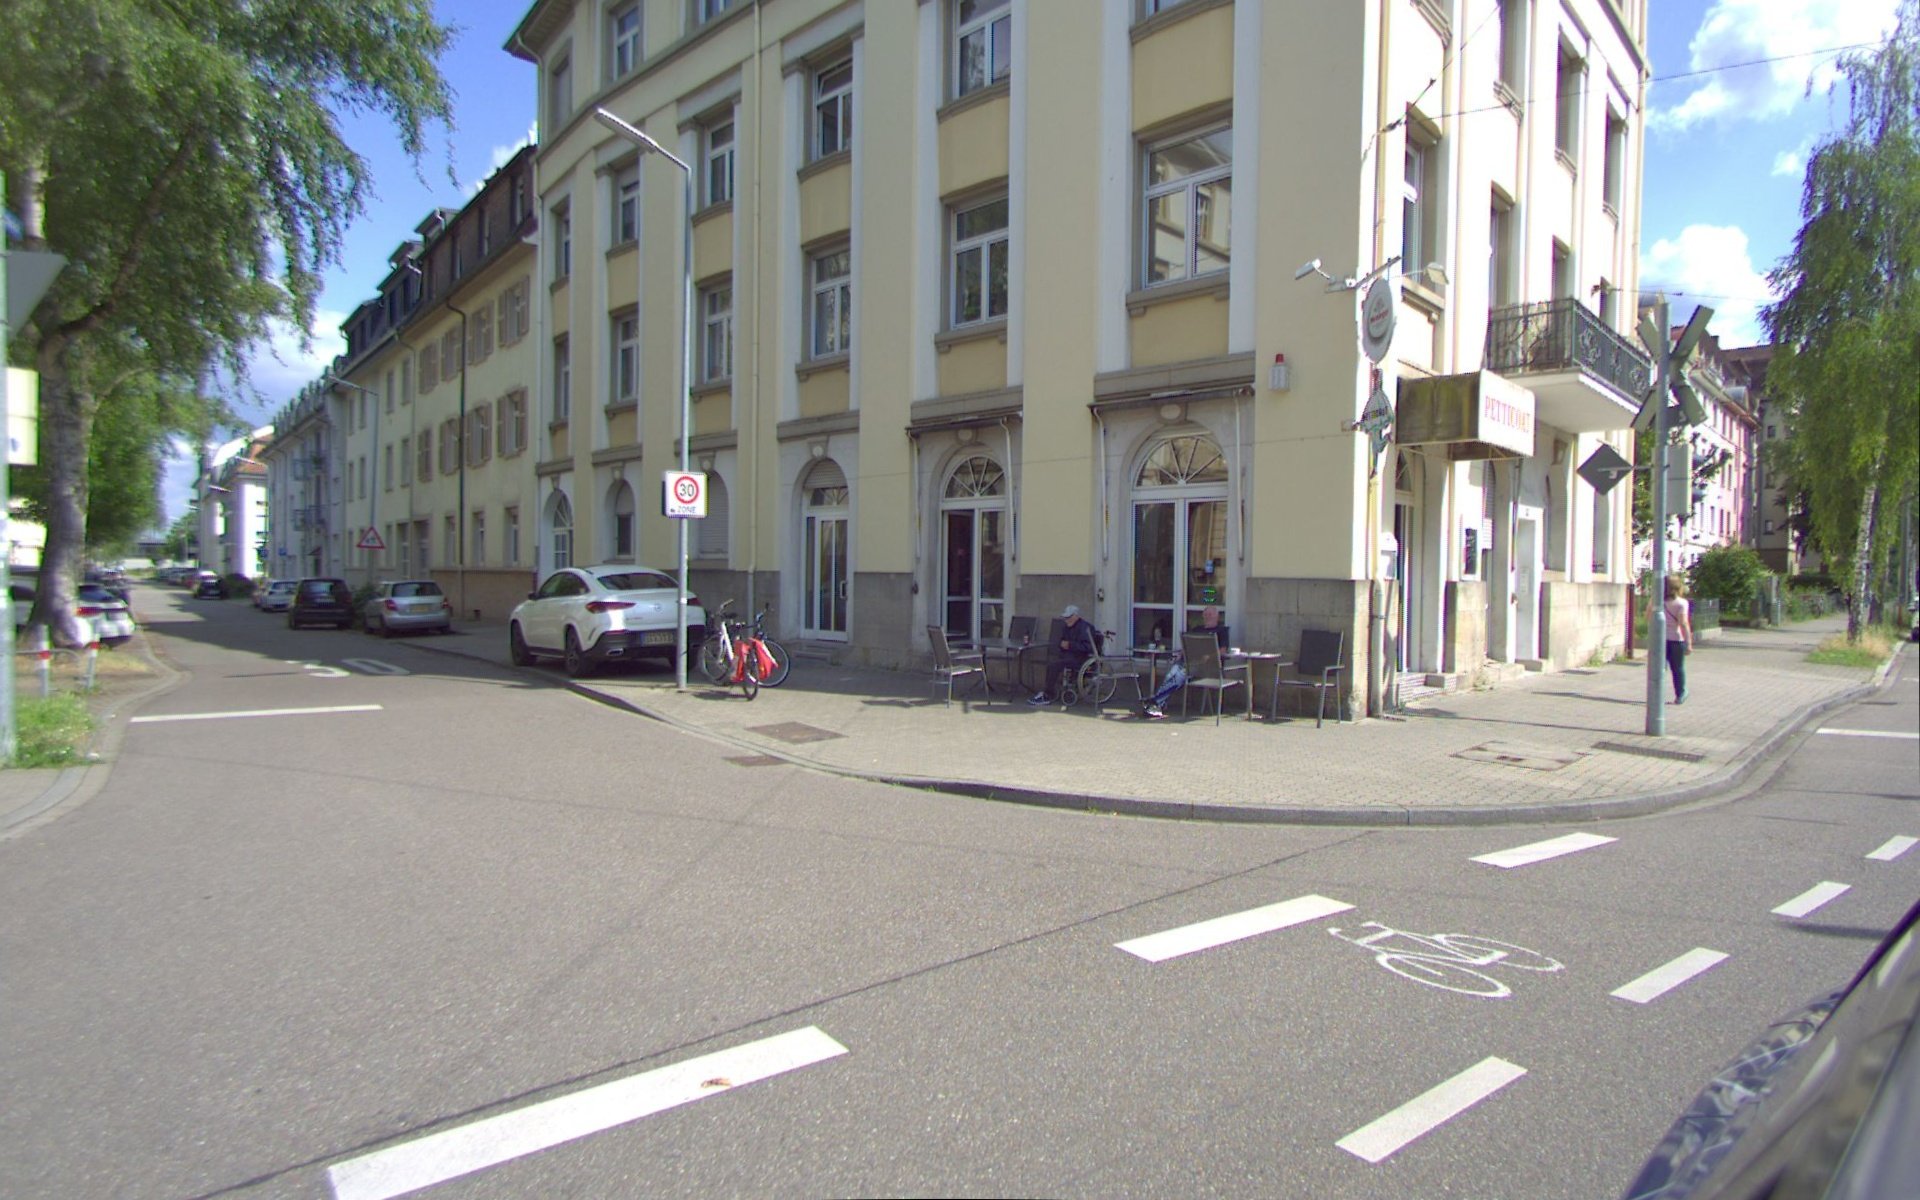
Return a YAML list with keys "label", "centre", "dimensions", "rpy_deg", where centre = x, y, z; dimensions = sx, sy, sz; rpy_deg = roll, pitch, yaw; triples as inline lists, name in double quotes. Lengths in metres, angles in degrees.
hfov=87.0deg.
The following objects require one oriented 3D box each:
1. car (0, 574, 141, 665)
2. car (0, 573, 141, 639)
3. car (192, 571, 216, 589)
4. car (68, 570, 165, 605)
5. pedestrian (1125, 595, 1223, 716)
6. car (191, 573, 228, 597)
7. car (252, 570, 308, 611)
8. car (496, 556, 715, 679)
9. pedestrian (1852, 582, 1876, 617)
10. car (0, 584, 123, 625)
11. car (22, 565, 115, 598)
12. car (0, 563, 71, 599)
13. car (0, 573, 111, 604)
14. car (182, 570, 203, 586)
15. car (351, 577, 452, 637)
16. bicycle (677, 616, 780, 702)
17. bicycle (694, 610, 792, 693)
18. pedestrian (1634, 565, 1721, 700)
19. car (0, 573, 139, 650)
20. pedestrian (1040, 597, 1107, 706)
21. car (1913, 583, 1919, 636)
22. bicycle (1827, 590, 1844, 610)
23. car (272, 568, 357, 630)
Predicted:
- label: "car"
  centre: [-17.229, 0.306, 17.537]
  dimensions: [4.448, 1.504, 1.625]
  rpy_deg: [0, 1, -14]
- label: "car"
  centre: [-21.567, 0.124, 23.812]
  dimensions: [3.199, 1.474, 1.596]
  rpy_deg: [0, 1, -9]
- label: "car"
  centre: [-64.729, -1.707, 86.676]
  dimensions: [1.467, 1.485, 3.293]
  rpy_deg: [0, 1, -40]
- label: "car"
  centre: [-35.433, -0.522, 42.576]
  dimensions: [2.936, 1.434, 1.233]
  rpy_deg: [0, 1, -28]
- label: "pedestrian"
  centre: [2.507, 0.605, 11.774]
  dimensions: [0.534, 1.284, 1.284]
  rpy_deg: [0, 2, 42]
- label: "car"
  centre: [-48.826, -0.979, 65.788]
  dimensions: [1.706, 1.485, 3.645]
  rpy_deg: [0, 1, -40]
- label: "car"
  centre: [-30.462, -0.441, 45.314]
  dimensions: [1.706, 1.760, 3.645]
  rpy_deg: [0, 1, -40]
- label: "car"
  centre: [-6.044, 0.187, 16.875]
  dimensions: [1.879, 1.755, 4.768]
  rpy_deg: [0, 1, -40]
- label: "pedestrian"
  centre: [44.841, -0.044, 50.190]
  dimensions: [0.679, 1.703, 0.731]
  rpy_deg: [0, 3, -41]
- label: "car"
  centre: [-26.428, 0.134, 29.441]
  dimensions: [2.934, 1.143, 1.287]
  rpy_deg: [0, 1, -14]
- label: "car"
  centre: [-47.374, -0.985, 53.860]
  dimensions: [3.436, 1.685, 1.415]
  rpy_deg: [0, 1, -16]
- label: "car"
  centre: [-38.327, -0.761, 41.232]
  dimensions: [2.936, 1.434, 1.233]
  rpy_deg: [0, 1, -28]
- label: "car"
  centre: [-42.704, -0.541, 47.764]
  dimensions: [3.662, 1.415, 1.714]
  rpy_deg: [0, 1, -10]
- label: "car"
  centre: [-73.367, -2.100, 96.687]
  dimensions: [1.467, 1.485, 3.293]
  rpy_deg: [0, 1, -40]
- label: "car"
  centre: [-15.223, 0.137, 27.519]
  dimensions: [1.595, 1.477, 3.589]
  rpy_deg: [-3, 3, -42]
- label: "bicycle"
  centre: [-3.097, 0.751, 13.449]
  dimensions: [0.575, 0.980, 1.649]
  rpy_deg: [-2, 3, -43]
- label: "bicycle"
  centre: [-3.067, 0.685, 14.204]
  dimensions: [0.575, 0.979, 1.650]
  rpy_deg: [-3, 5, -43]
- label: "pedestrian"
  centre: [9.282, 0.405, 13.096]
  dimensions: [0.749, 1.668, 0.674]
  rpy_deg: [1, 2, -39]
- label: "car"
  centre: [-18.496, 0.210, 20.042]
  dimensions: [3.199, 1.474, 1.387]
  rpy_deg: [0, 1, -10]
- label: "pedestrian"
  centre: [1.422, 0.622, 12.651]
  dimensions: [0.534, 1.284, 0.651]
  rpy_deg: [2, 2, 42]
- label: "car"
  centre: [31.955, 0.257, 32.431]
  dimensions: [3.932, 1.650, 1.723]
  rpy_deg: [-1, -1, -42]
- label: "bicycle"
  centre: [46.952, -0.009, 54.288]
  dimensions: [2.146, 1.090, 0.472]
  rpy_deg: [0, 2, -44]
- label: "car"
  centre: [-19.802, -0.045, 31.000]
  dimensions: [1.706, 1.760, 3.644]
  rpy_deg: [2, 0, -40]
